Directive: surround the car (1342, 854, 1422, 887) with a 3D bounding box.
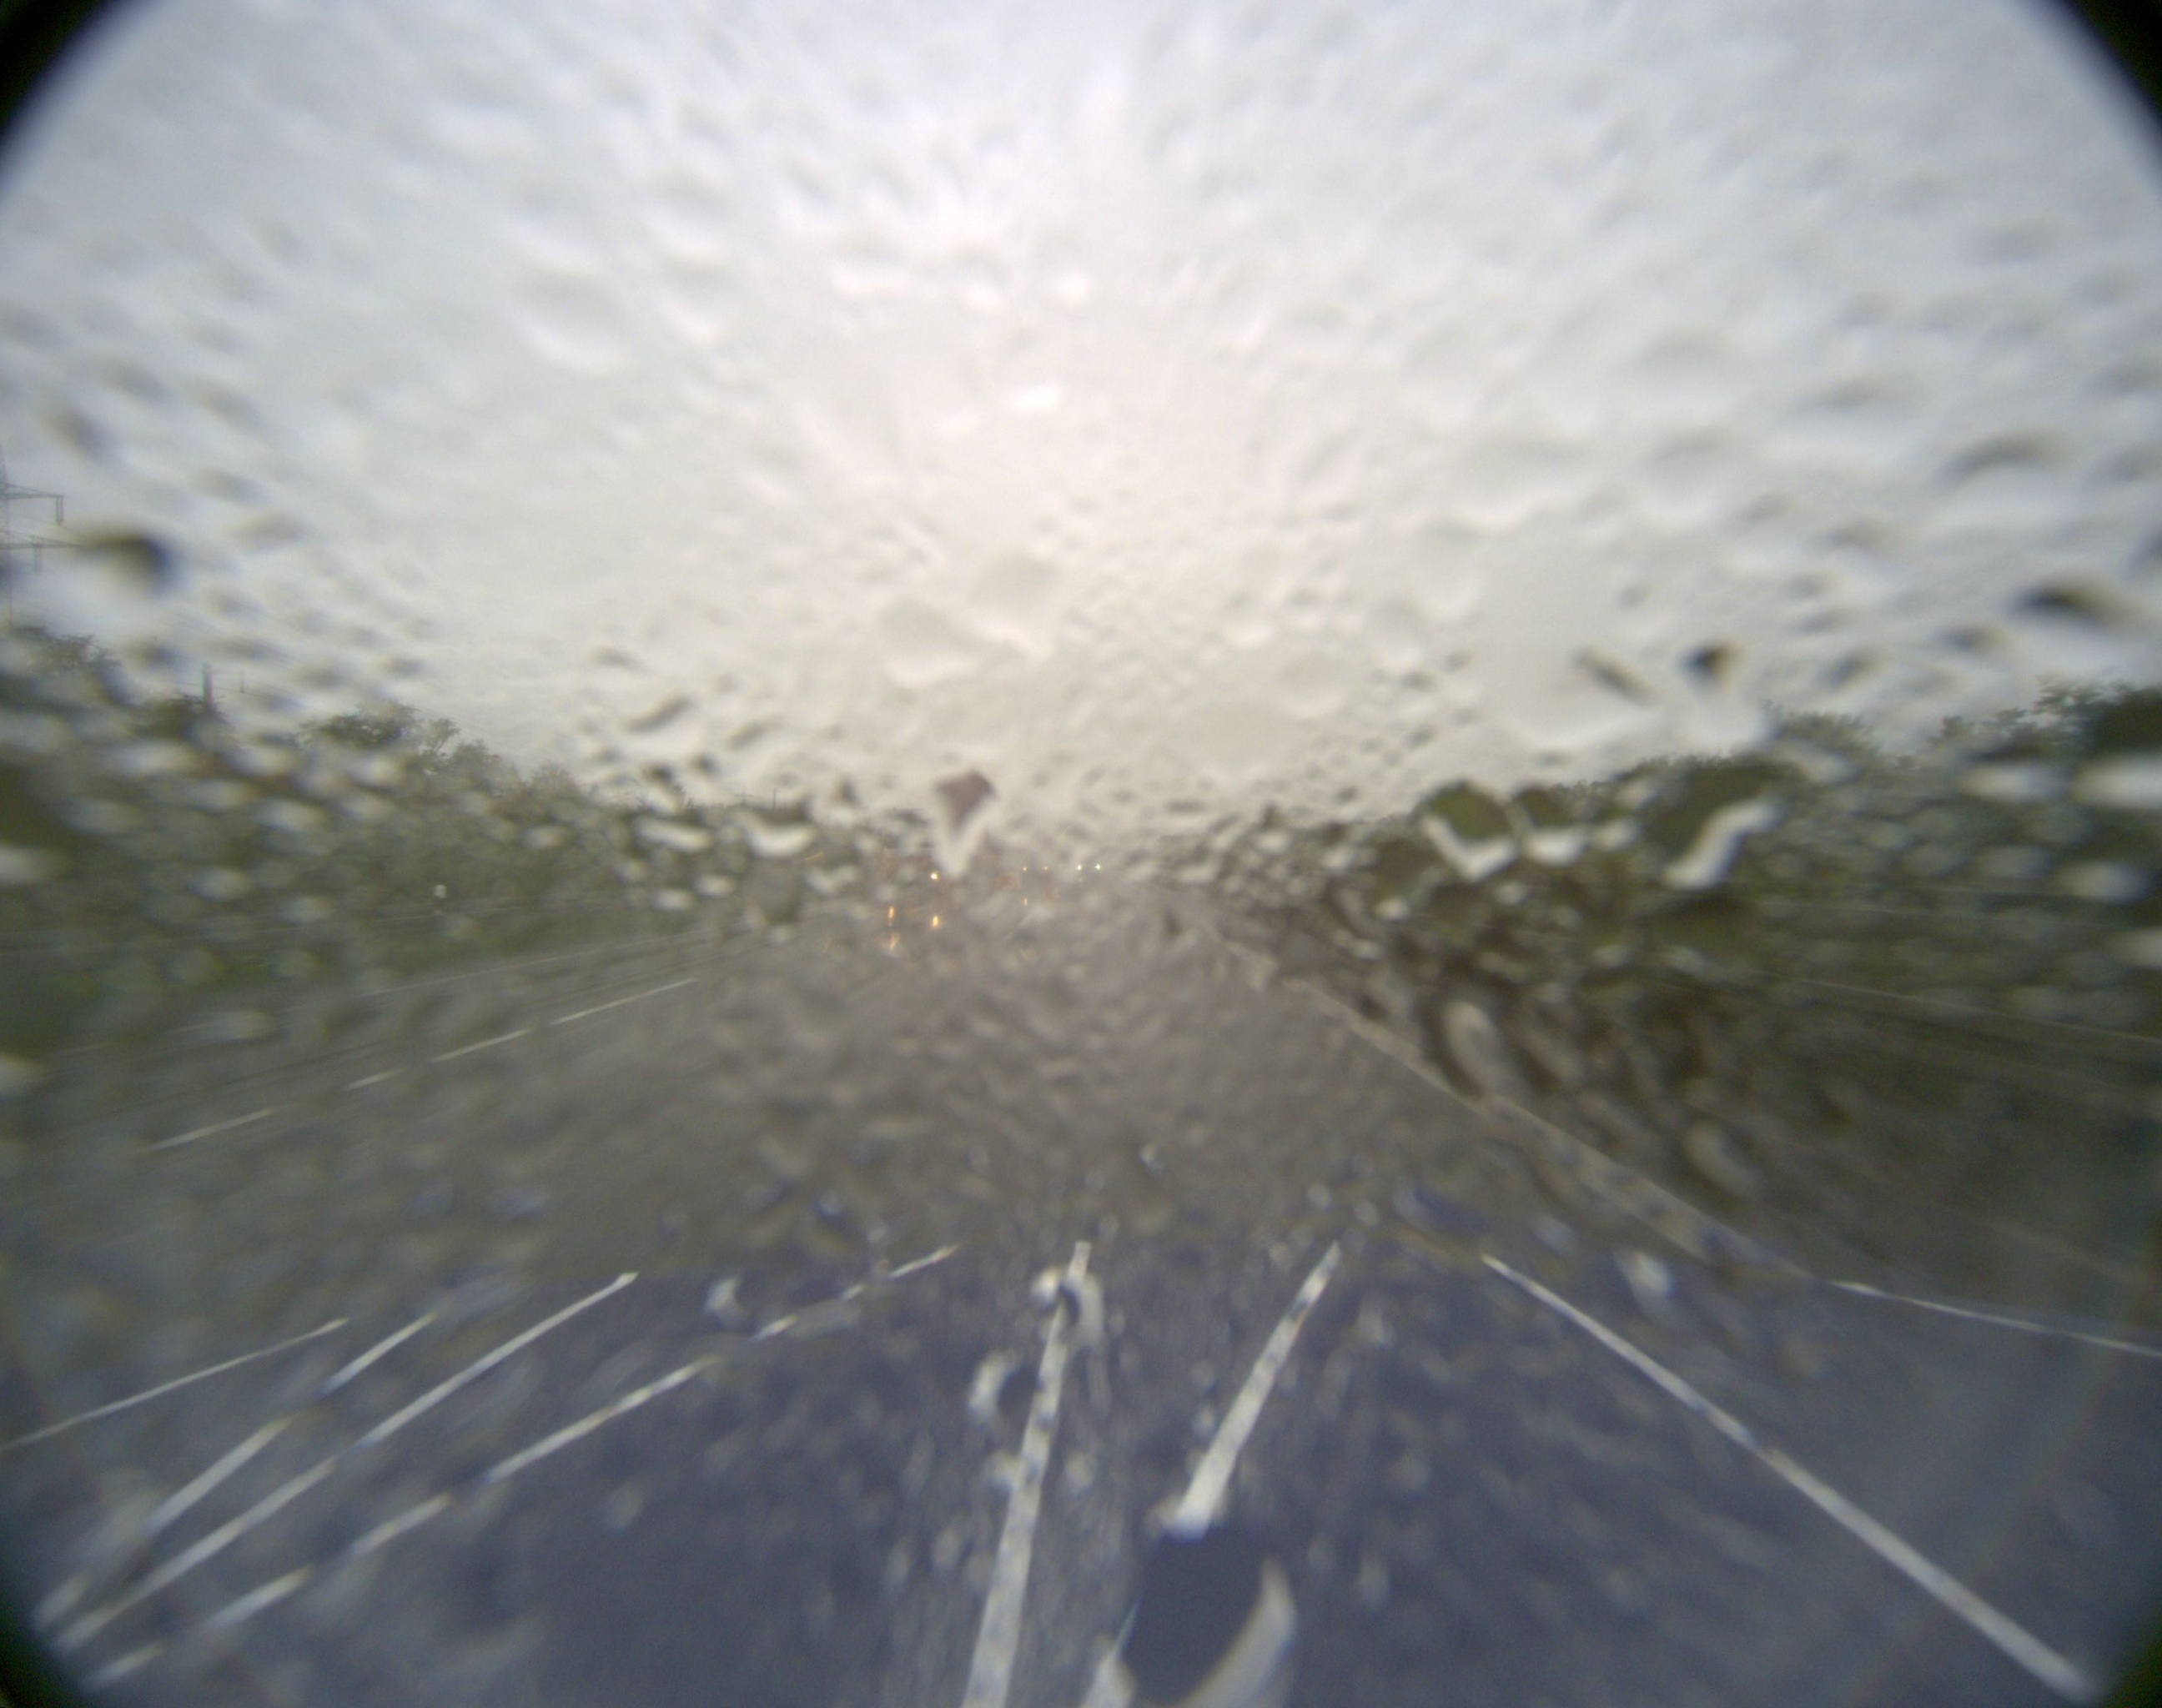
[{"bbox_3d":[15.278,0.800,38.950,1.932,1.503,5.434,-2,0,0],"label":"car"}]

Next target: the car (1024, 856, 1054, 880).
[{"bbox_3d":[-2.759,0.883,50.741,1.663,1.491,3.836,-2,0,1],"label":"car"}]

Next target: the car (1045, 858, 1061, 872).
[{"bbox_3d":[-3.466,1.335,94.637,1.845,1.671,4.000,-2,0,0],"label":"car"}]

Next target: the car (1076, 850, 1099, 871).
[{"bbox_3d":[0.524,0.520,63.309,1.845,1.671,4.000,-2,0,0],"label":"car"}]

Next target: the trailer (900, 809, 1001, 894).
[{"bbox_3d":[-6.699,-0.077,42.294,2.486,3.743,16.545,-2,0,1],"label":"trailer"}]

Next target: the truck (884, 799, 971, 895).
[{"bbox_3d":[-6.788,-0.267,34.387,2.457,3.866,6.199,-2,0,1],"label":"truck"}]

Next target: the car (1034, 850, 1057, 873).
[{"bbox_3d":[-2.591,0.544,56.227,1.517,1.606,3.186,-2,0,0],"label":"car"}]
